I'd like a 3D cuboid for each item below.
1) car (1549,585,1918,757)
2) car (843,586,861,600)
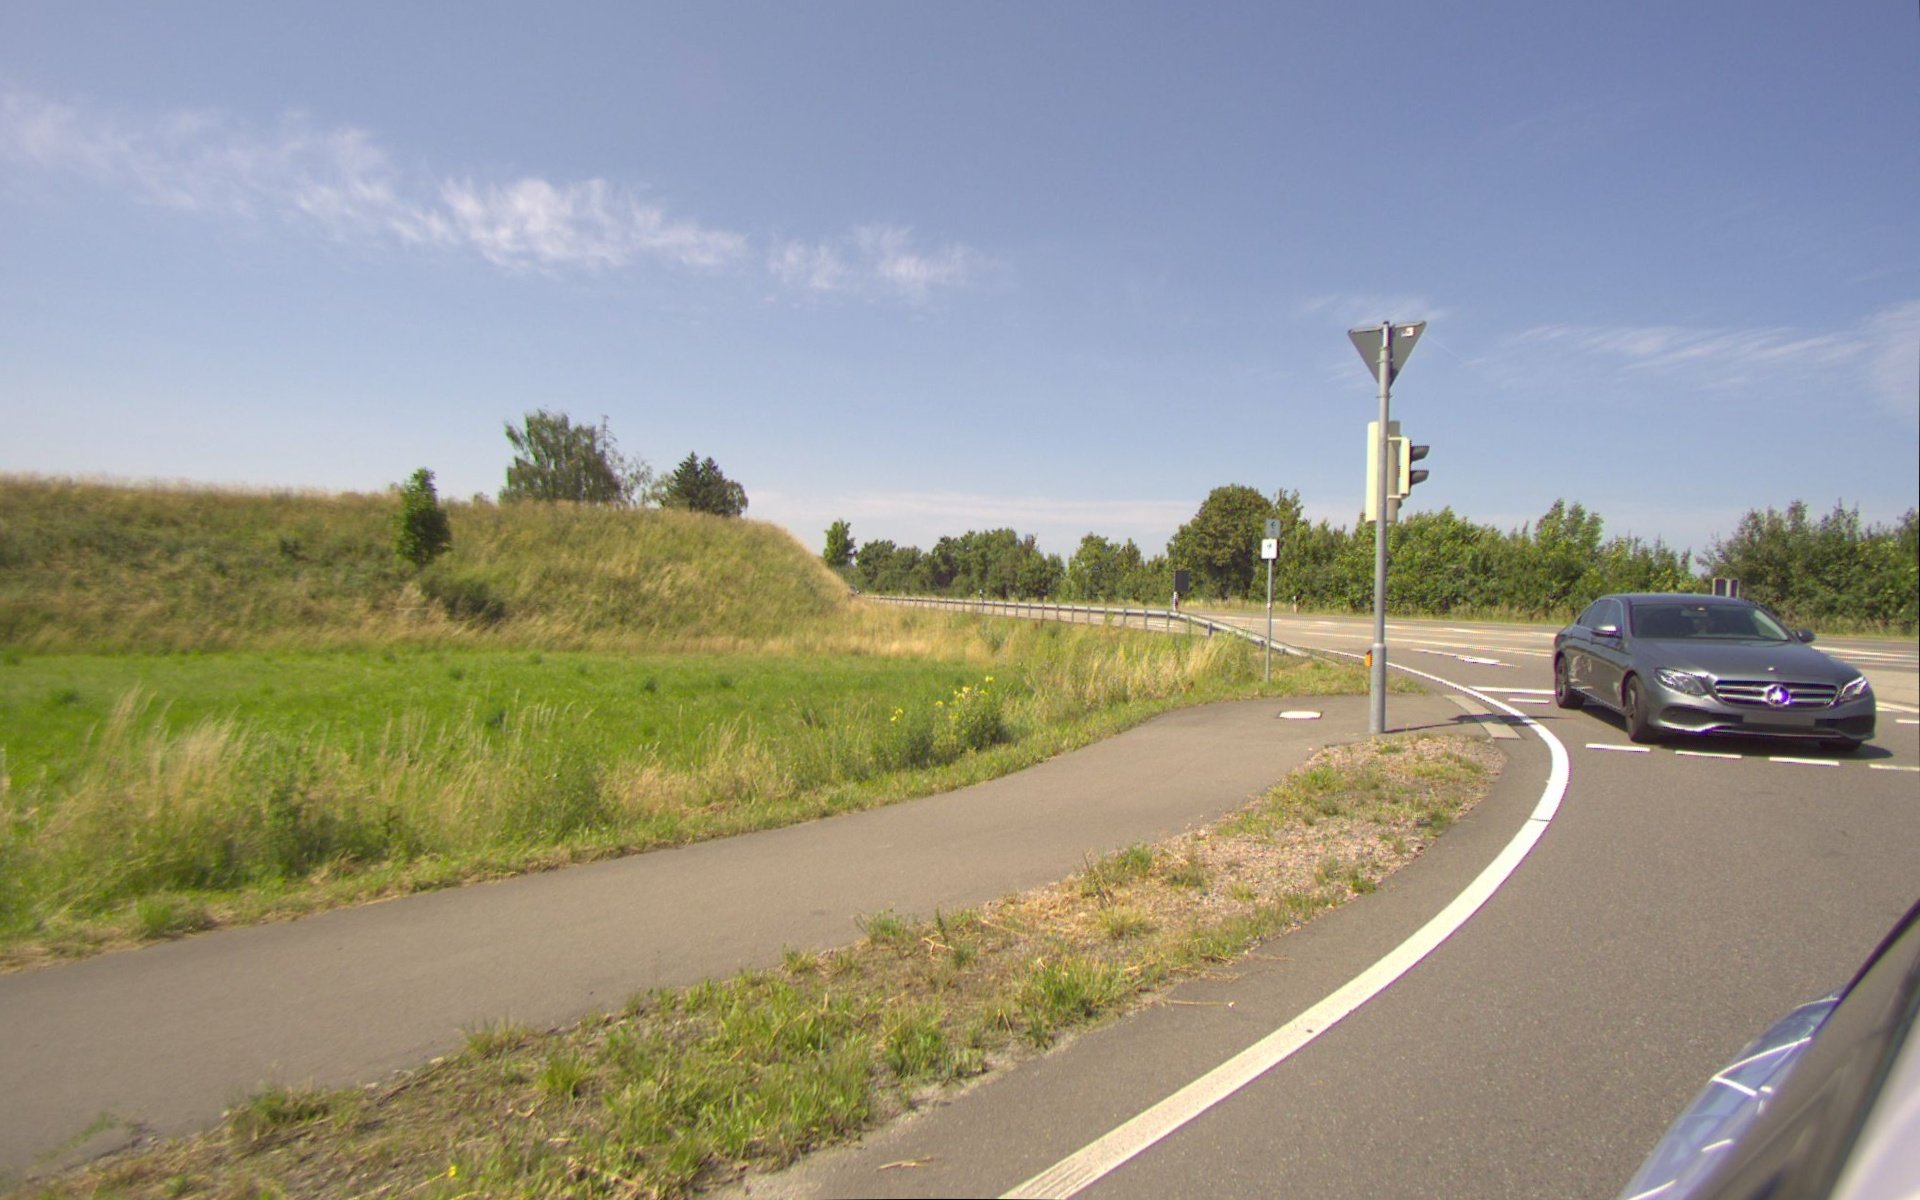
[{"bbox_3d":[8.105,0.580,11.192,1.871,1.465,4.498,0,1,19],"label":"car"},{"bbox_3d":[-13.703,-0.868,128.071,1.765,1.704,4.009,-1,2,-13],"label":"car"}]
